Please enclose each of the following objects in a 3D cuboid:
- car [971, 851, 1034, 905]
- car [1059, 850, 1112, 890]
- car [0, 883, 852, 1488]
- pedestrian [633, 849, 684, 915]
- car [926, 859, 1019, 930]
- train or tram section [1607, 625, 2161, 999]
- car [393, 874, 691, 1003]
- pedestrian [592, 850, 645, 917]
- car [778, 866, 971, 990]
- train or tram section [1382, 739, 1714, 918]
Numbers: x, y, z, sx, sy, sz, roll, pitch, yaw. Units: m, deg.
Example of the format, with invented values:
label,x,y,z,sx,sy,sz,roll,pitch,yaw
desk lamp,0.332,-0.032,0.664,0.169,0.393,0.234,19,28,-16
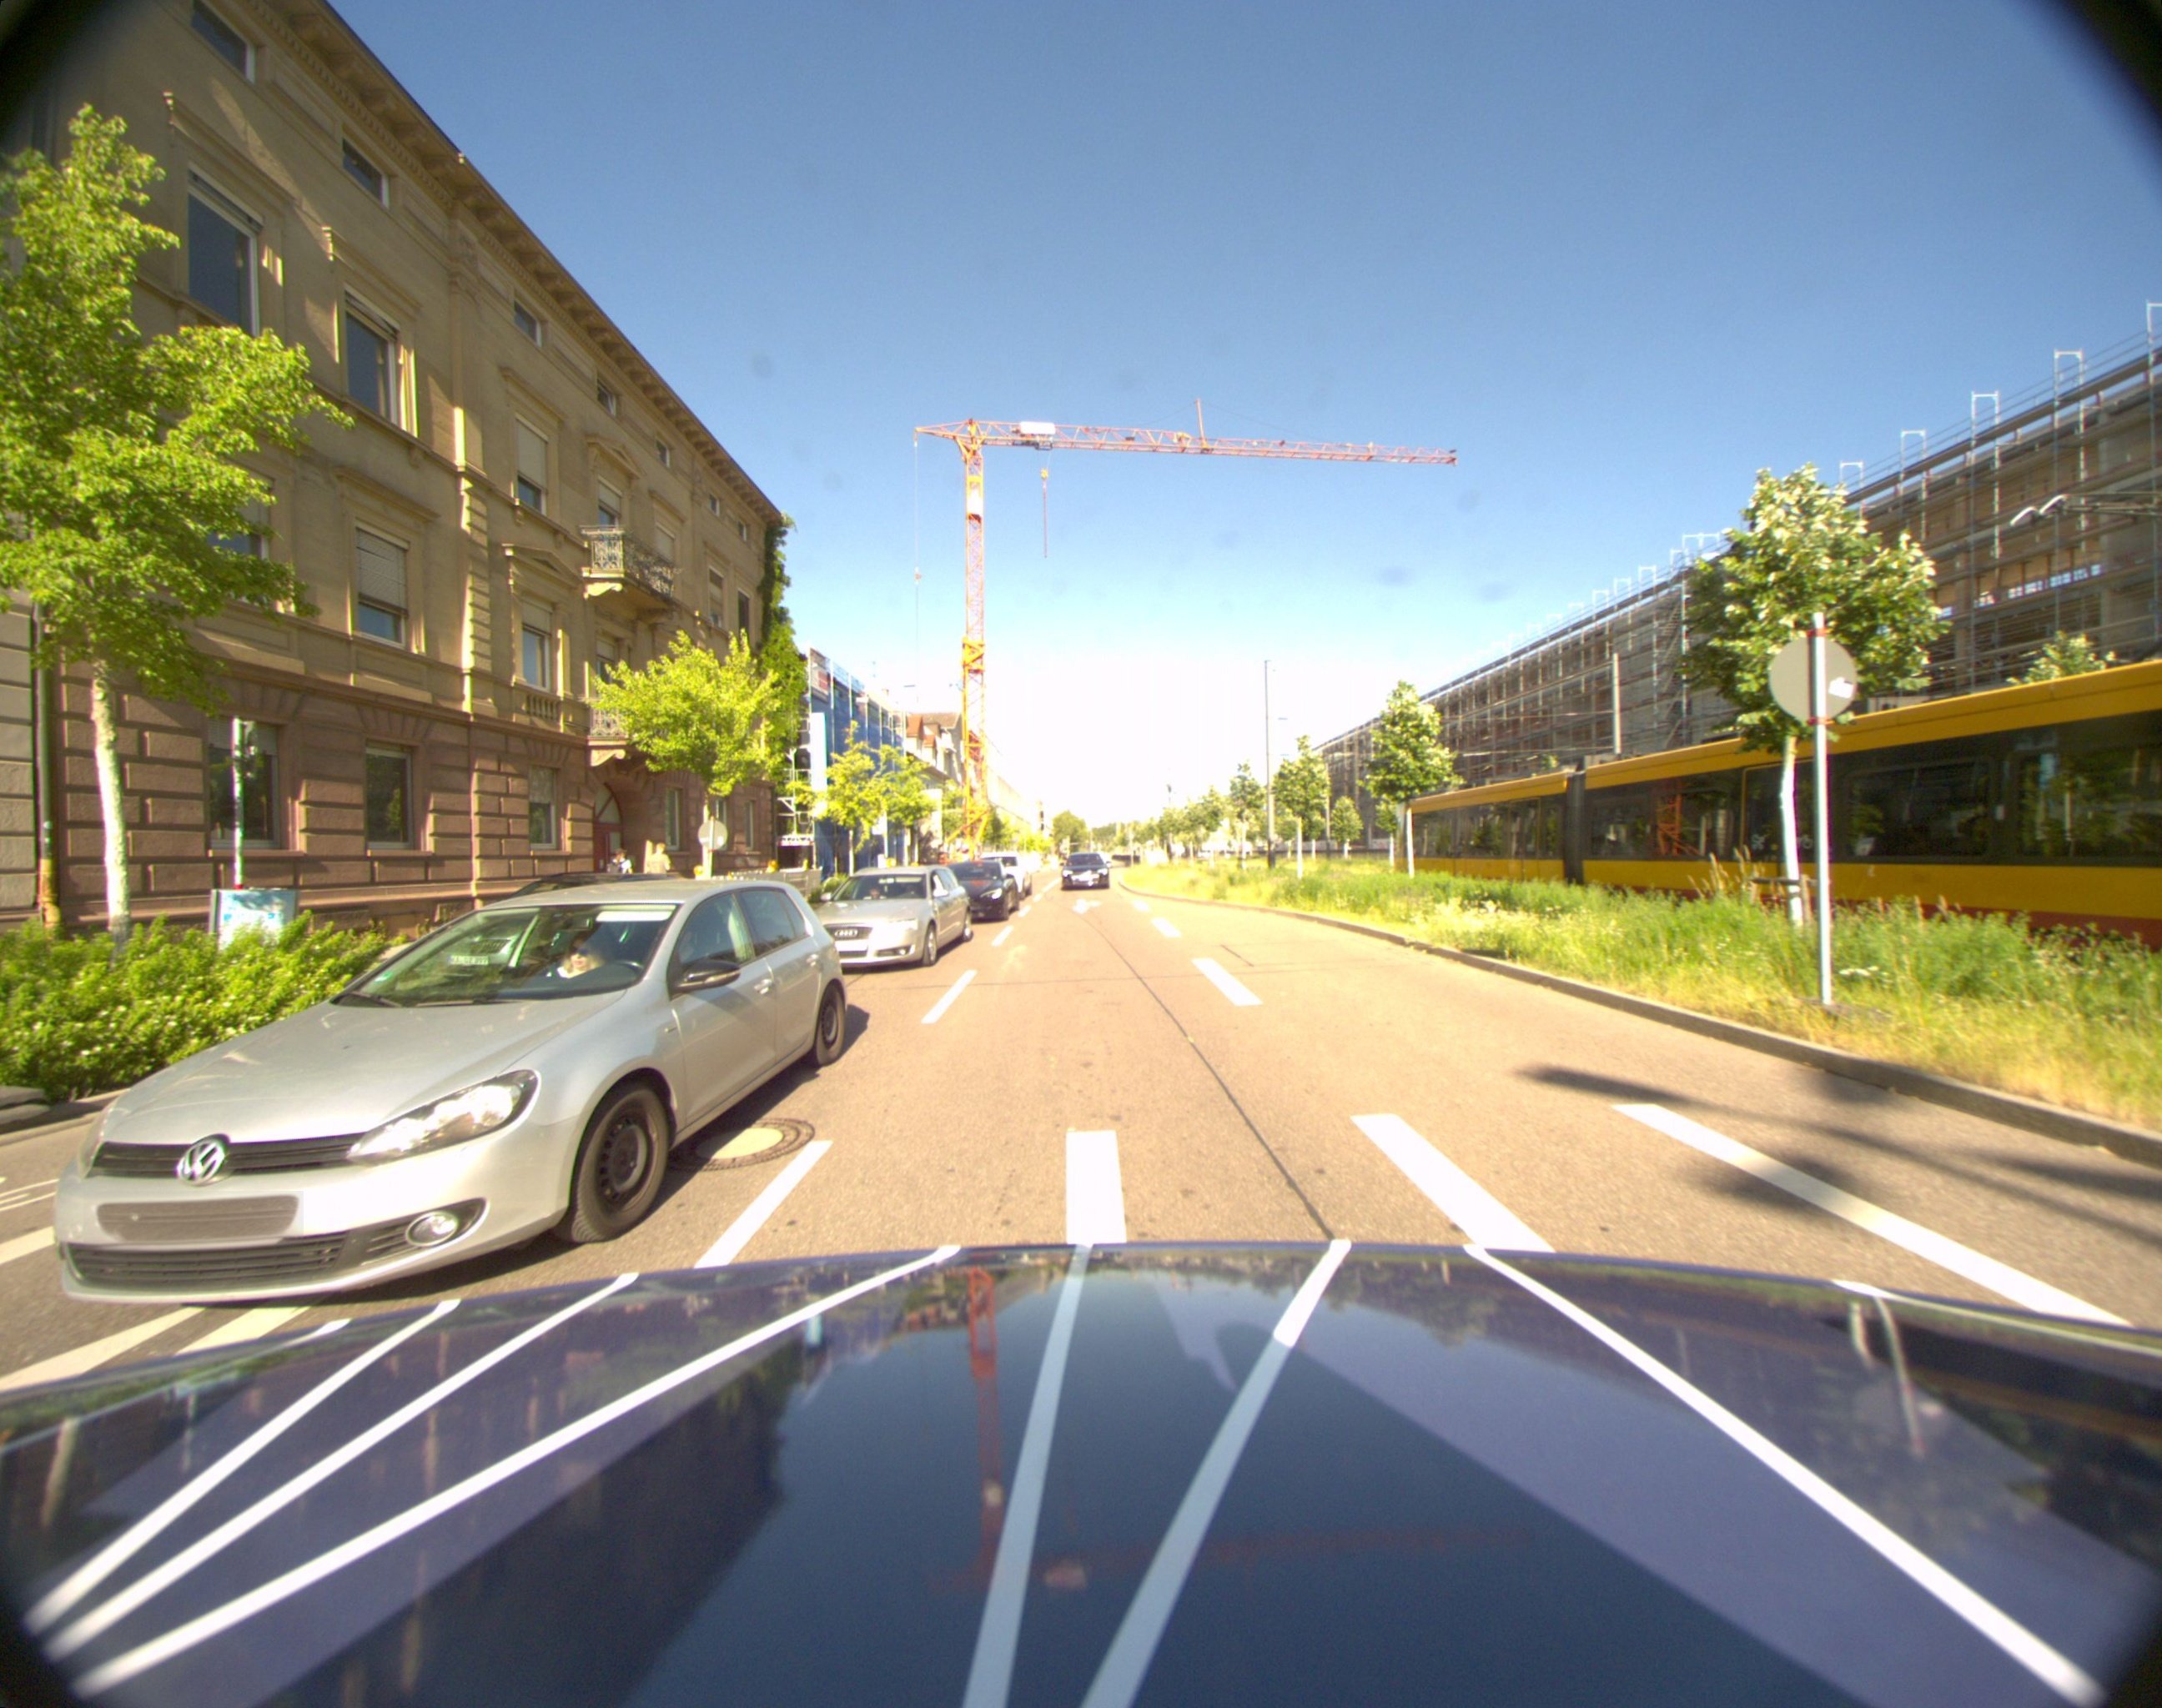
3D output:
label,x,y,z,sx,sy,sz,roll,pitch,yaw
car,-2.642,0.766,26.347,1.703,1.622,3.999,-2,1,0
car,0.108,0.621,31.367,1.999,1.493,3.998,-1,1,-2
car,-2.726,1.019,4.129,1.703,1.466,3.999,-2,1,0
pedestrian,-10.337,0.665,18.614,0.669,1.552,0.906,-2,1,-2
car,-2.546,0.900,18.709,1.703,1.415,3.999,-2,1,0
train or tram section,11.713,-0.476,10.205,1.998,3.648,11.317,-2,1,3
car,-7.698,1.097,11.412,1.610,1.435,3.999,-1,1,0
pedestrian,-11.229,0.701,18.478,0.669,1.552,0.906,-2,1,-2
car,-2.927,0.974,11.704,1.839,1.415,3.999,-2,1,0
train or tram section,12.502,-0.617,22.838,1.998,3.648,14.153,-2,1,4
